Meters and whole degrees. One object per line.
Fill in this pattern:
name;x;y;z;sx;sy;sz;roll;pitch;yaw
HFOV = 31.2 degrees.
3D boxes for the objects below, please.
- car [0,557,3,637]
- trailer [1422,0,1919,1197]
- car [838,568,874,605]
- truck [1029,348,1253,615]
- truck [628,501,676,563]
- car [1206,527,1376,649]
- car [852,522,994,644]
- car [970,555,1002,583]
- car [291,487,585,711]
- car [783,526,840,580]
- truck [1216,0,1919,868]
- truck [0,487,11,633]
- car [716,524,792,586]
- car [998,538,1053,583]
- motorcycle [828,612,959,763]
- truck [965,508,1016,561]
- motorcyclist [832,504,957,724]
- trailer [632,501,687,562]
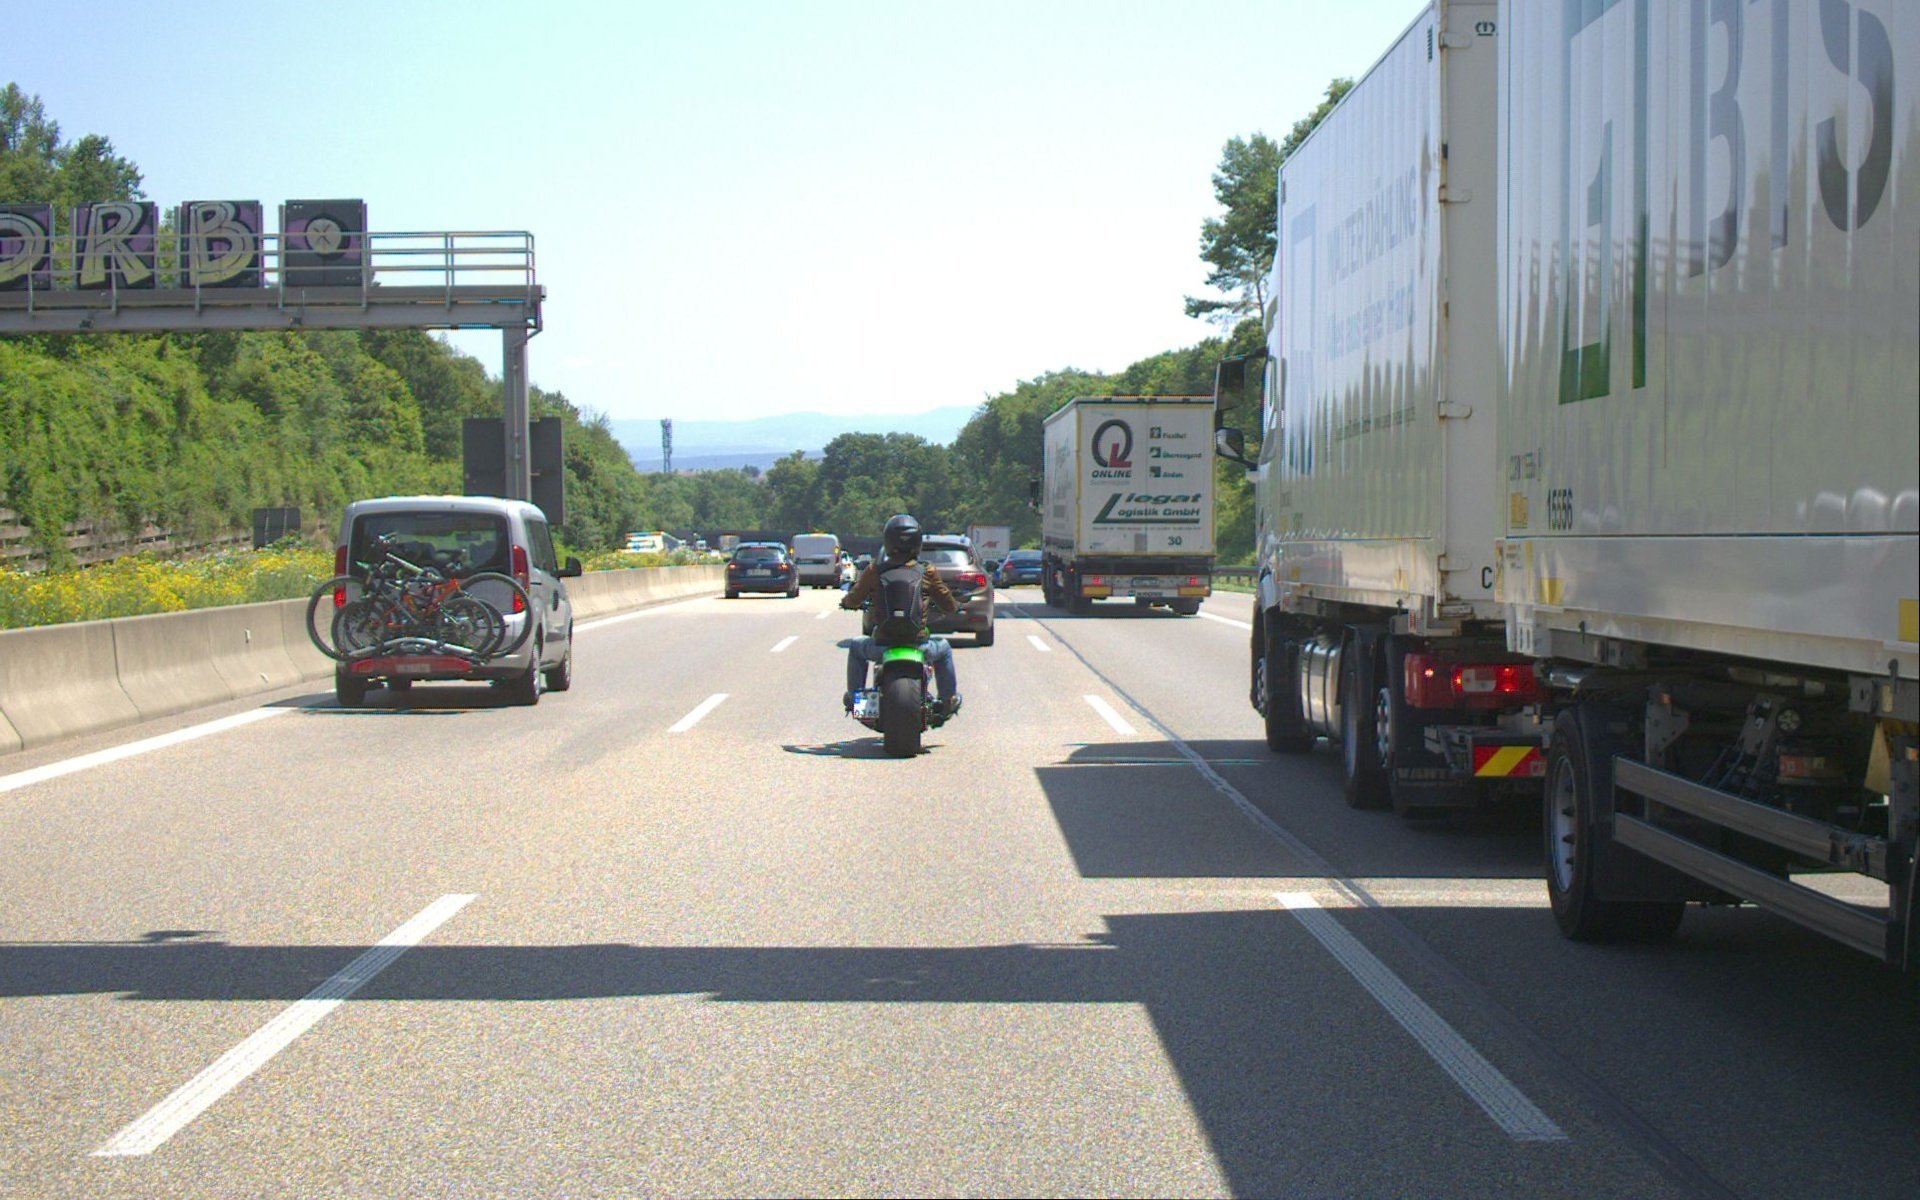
car;-15.820;-0.130;50.813;2.003;1.599;4.863;-2;2;-1
trailer;3.485;-0.781;10.323;2.680;4.161;10.066;0;1;-1
car;-5.488;-0.721;181.457;1.831;1.804;4.120;0;2;-1
truck;3.425;-2.318;70.445;3.383;4.702;17.710;1;1;-1
truck;-20.371;-4.482;227.378;2.680;4.017;5.931;-1;1;-1
car;4.490;-0.202;47.209;1.845;1.552;4.393;0;2;-1
car;-0.516;-0.268;46.997;1.845;1.552;4.440;0;2;-1
car;1.523;-1.841;202.899;1.831;1.521;4.027;0;2;-1
car;-4.613;-0.044;31.165;1.898;1.841;5.483;0;1;-1
car;-5.129;-1.635;118.904;1.831;1.804;4.120;0;2;-1
truck;3.355;-0.942;20.715;2.680;4.045;10.626;0;1;-1
truck;-20.952;-0.697;67.699;2.579;2.982;7.063;-2;2;-1
car;-5.306;-1.184;88.993;1.758;1.538;4.395;0;2;-1
car;2.314;-1.417;122.265;1.831;1.521;4.027;0;2;-1
motorcycle;-0.450;0.593;24.169;0.862;0.978;2.131;0;1;0
truck;1.982;-4.335;226.357;3.067;3.335;9.653;1;1;-1
motorcyclist;-0.451;0.091;24.147;0.856;1.510;0.914;0;1;0
trailer;-20.460;-4.667;234.813;2.680;4.001;14.189;-1;1;-1
